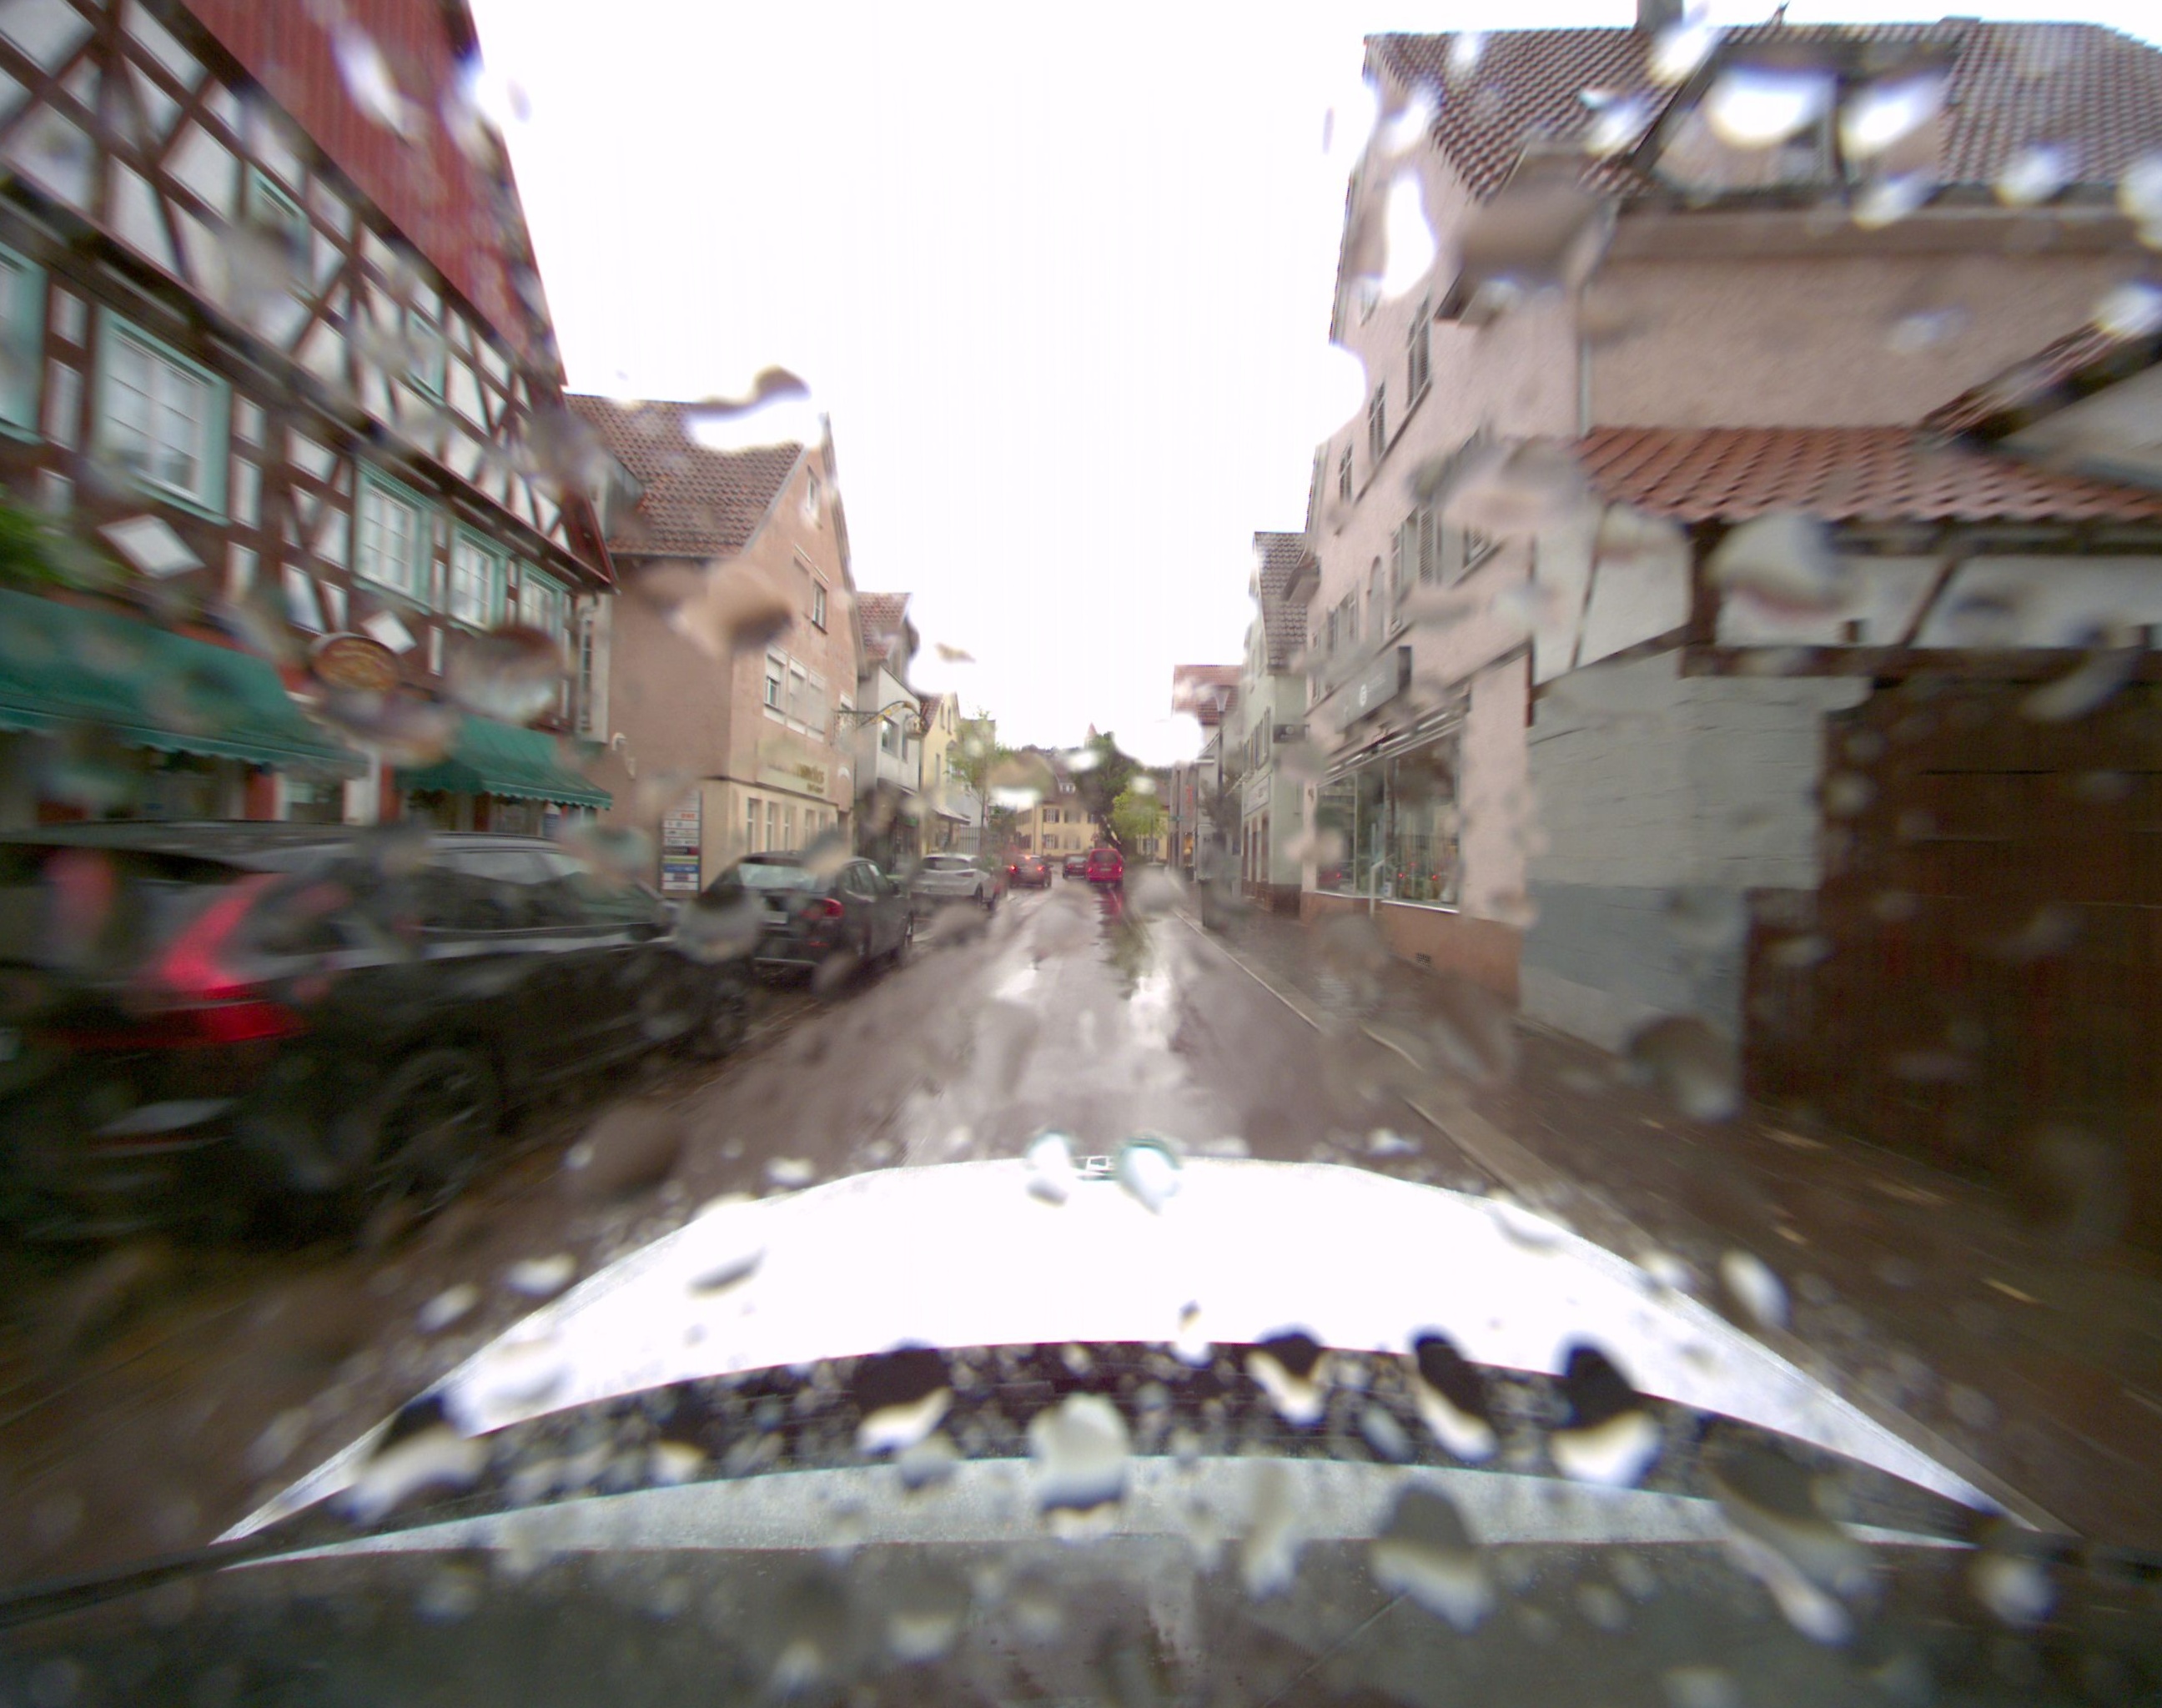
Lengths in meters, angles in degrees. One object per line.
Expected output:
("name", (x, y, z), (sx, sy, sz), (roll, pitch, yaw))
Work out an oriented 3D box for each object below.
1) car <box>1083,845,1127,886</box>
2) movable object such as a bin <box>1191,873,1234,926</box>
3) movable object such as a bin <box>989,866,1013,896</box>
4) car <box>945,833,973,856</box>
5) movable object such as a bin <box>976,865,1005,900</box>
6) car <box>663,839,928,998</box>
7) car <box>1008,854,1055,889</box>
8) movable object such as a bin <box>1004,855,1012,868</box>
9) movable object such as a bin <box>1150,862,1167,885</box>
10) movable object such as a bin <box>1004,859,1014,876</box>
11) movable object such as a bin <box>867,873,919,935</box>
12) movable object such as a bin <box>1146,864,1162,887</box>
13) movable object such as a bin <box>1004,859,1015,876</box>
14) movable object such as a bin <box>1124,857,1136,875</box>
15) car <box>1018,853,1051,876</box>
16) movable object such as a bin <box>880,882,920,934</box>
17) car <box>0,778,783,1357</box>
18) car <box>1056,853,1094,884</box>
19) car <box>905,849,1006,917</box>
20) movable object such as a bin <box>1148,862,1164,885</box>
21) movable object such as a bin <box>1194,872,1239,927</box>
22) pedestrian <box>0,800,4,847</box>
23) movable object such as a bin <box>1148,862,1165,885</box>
("car", (1.134, 0.516, 40.563), (1.889, 1.811, 3.998), (3, 1, -1))
("movable object such as a bin", (2.767, 0.951, 17.221), (0.794, 1.081, 0.582), (1, -1, -1))
("movable object such as a bin", (-2.869, 0.959, 29.124), (0.706, 1.052, 0.704), (2, -2, 3))
("car", (-15.371, -1.097, 102.176), (2.305, 2.602, 6.916), (3, -2, -18))
("movable object such as a bin", (-2.950, 0.915, 26.534), (0.783, 1.084, 0.694), (3, 1, 3))
("car", (-3.331, 0.628, 10.492), (1.774, 1.538, 4.291), (3, 1, 1))
("car", (-2.255, 0.753, 37.888), (1.685, 1.443, 3.887), (2, 1, 3))
("movable object such as a bin", (-6.599, 0.699, 73.632), (0.714, 1.106, 0.598), (2, -2, -8))
("movable object such as a bin", (3.643, 0.917, 38.289), (0.765, 1.079, 0.599), (2, -2, 2))
("movable object such as a bin", (-4.817, 0.878, 54.607), (0.659, 1.110, 0.614), (2, -2, -6))
("movable object such as a bin", (-3.415, 0.896, 14.864), (0.767, 1.082, 0.675), (2, -2, -3))
("movable object such as a bin", (3.614, 1.054, 40.135), (0.733, 1.098, 0.611), (2, -2, 1))
("movable object such as a bin", (-4.747, 0.907, 53.978), (0.725, 1.110, 0.595), (2, -2, -6))
("movable object such as a bin", (3.169, 0.803, 52.788), (0.630, 1.150, 0.578), (2, -2, -6))
("car", (-3.352, 0.705, 58.318), (1.789, 1.495, 3.985), (3, 0, -11))
("movable object such as a bin", (-3.443, 1.023, 15.518), (0.607, 0.939, 0.499), (2, -2, -3))
("car", (-3.544, 0.605, 4.696), (1.818, 1.666, 4.643), (2, 0, 1))
("car", (-0.416, 0.925, 51.639), (1.990, 1.799, 3.992), (2, -2, -5))
("car", (-3.161, 0.716, 21.379), (1.684, 1.538, 4.124), (3, 0, 4))
("movable object such as a bin", (3.625, 0.940, 39.530), (0.726, 1.091, 0.521), (2, -2, 2))
("movable object such as a bin", (2.748, 0.912, 16.551), (0.790, 1.081, 0.614), (1, -1, -1))
("pedestrian", (-6.299, 0.511, 3.840), (0.788, 1.682, 1.173), (2, -2, -10))
("movable object such as a bin", (3.621, 0.927, 38.931), (0.751, 1.064, 0.600), (2, -2, 2))
